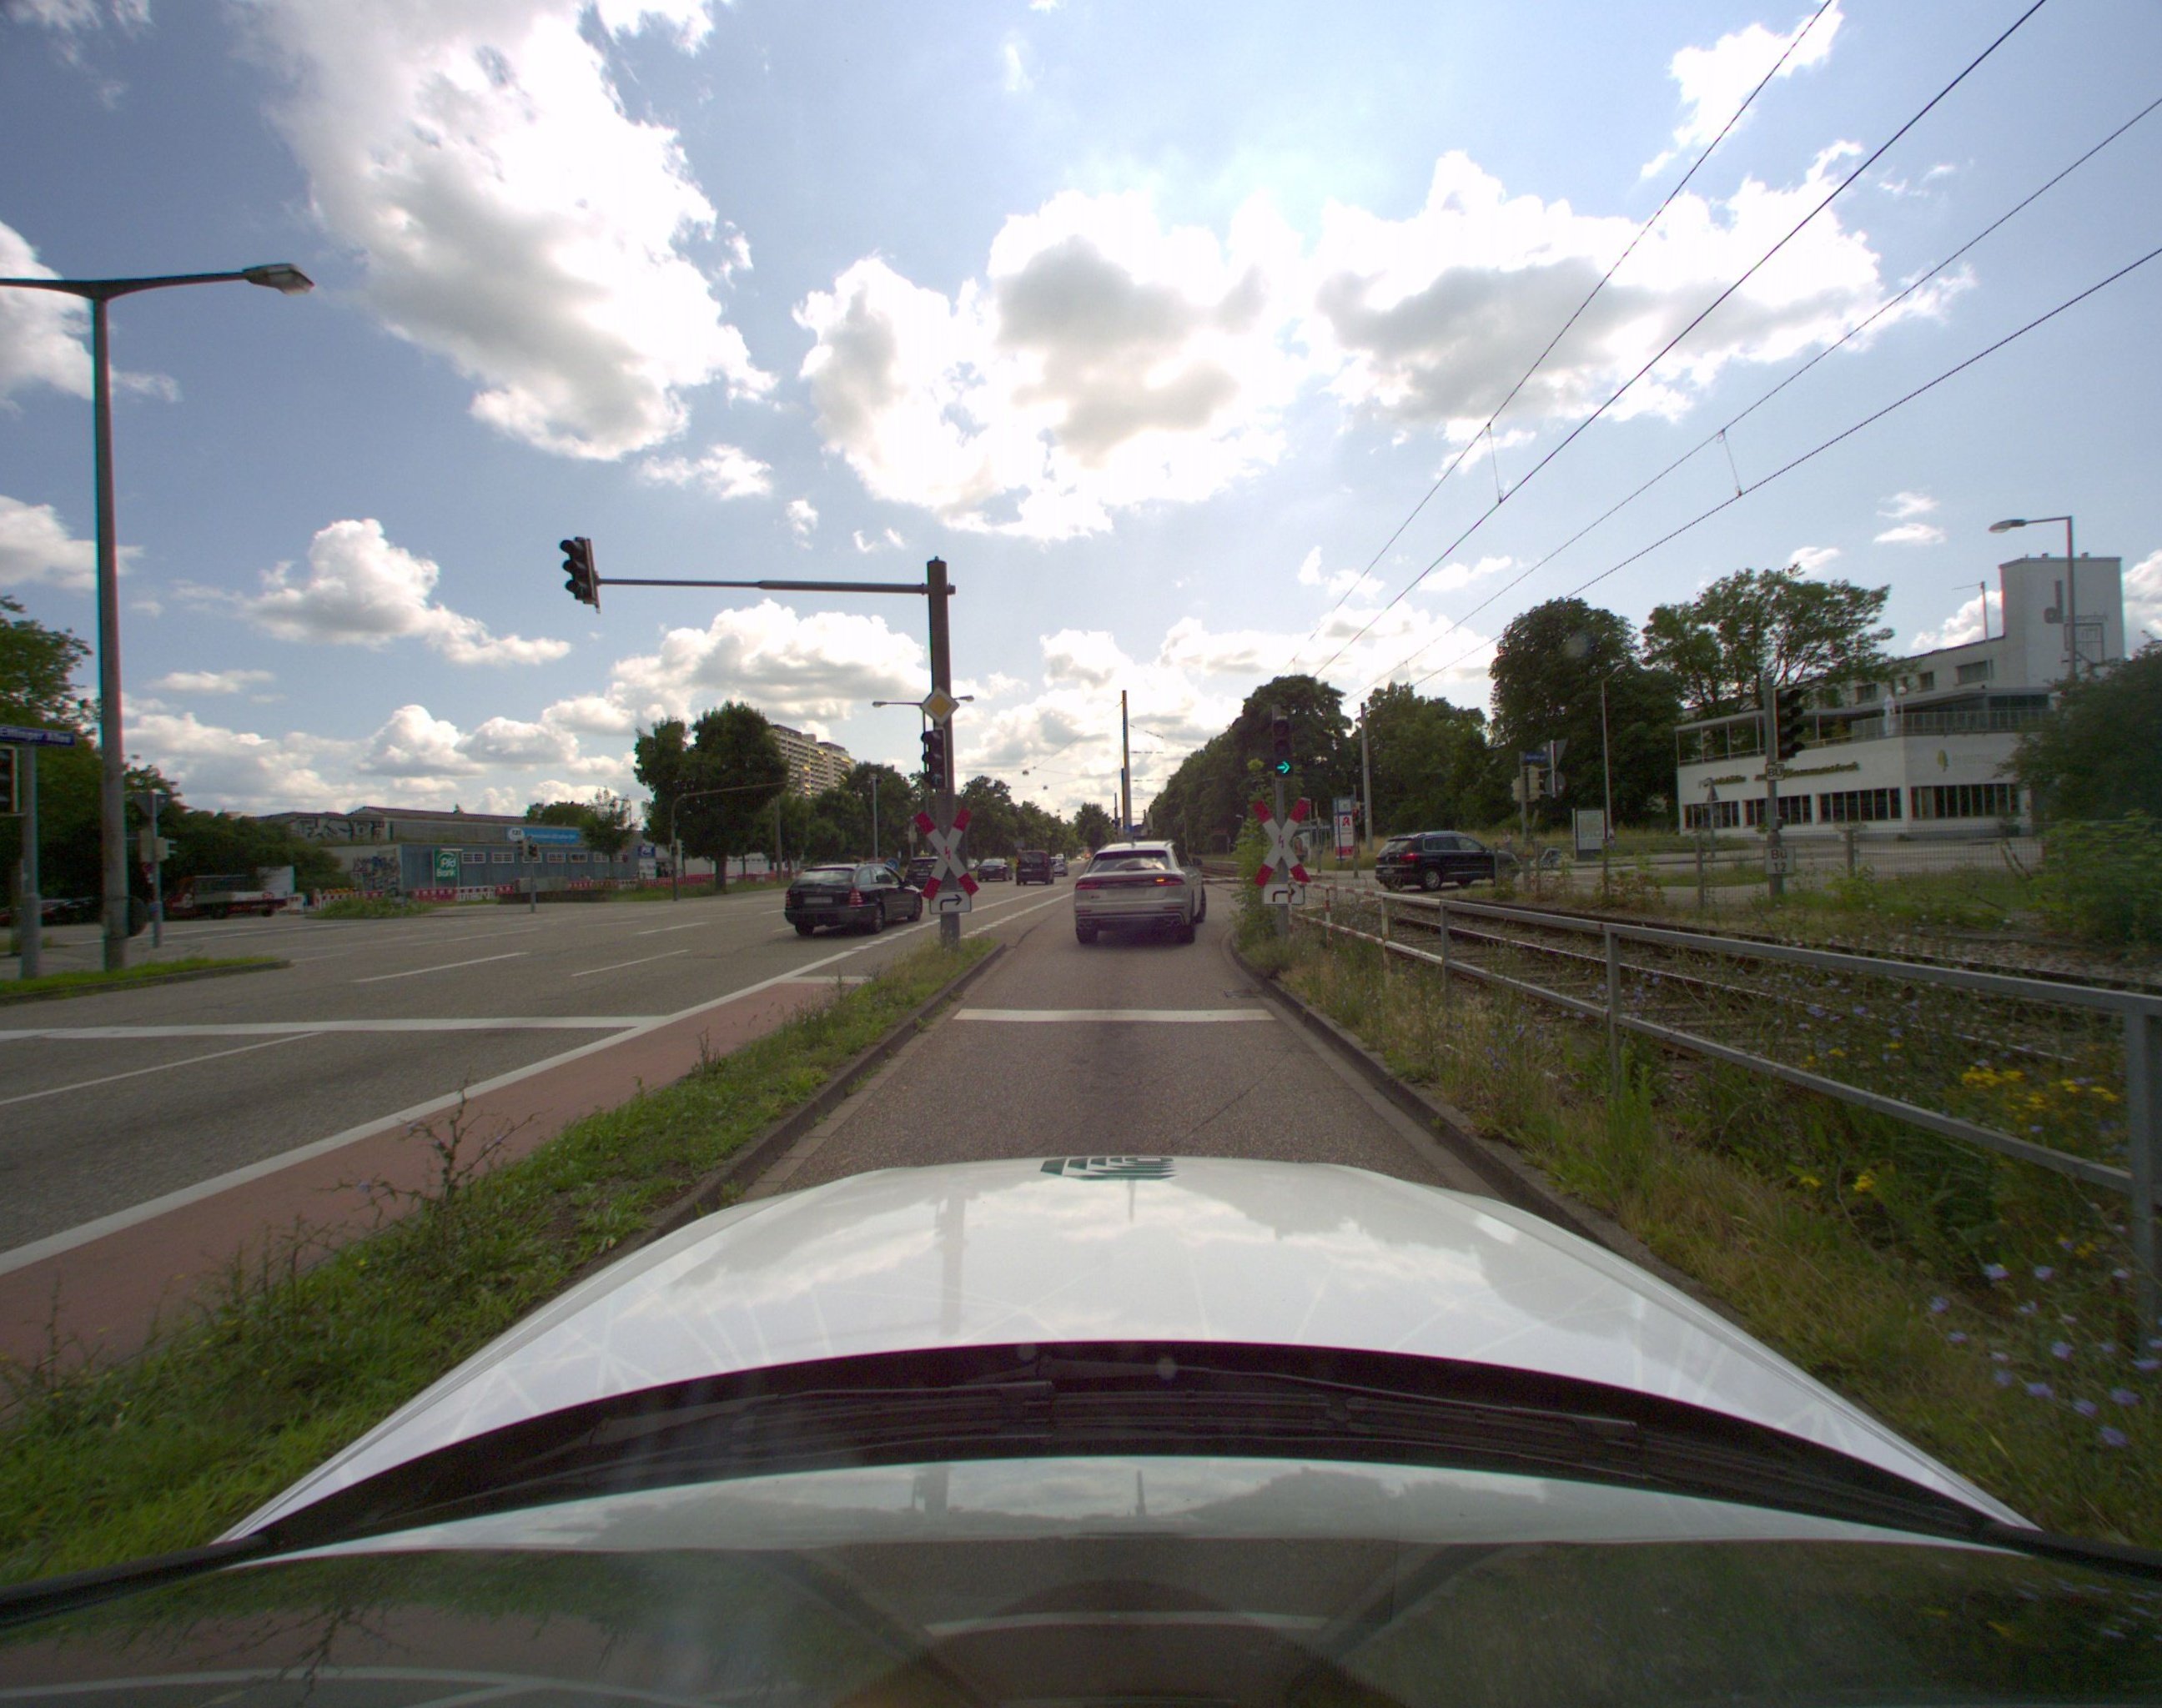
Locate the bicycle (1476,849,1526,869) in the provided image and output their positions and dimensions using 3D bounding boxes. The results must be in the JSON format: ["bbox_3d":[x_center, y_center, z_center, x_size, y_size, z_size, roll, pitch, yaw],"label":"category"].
[{"bbox_3d":[17.040,0.187,33.070,1.714,0.765,0.556,-1,-1,5],"label":"bicycle"}]

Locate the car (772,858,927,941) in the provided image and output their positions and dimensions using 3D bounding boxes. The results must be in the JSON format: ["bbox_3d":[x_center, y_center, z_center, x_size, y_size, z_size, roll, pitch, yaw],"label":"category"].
[{"bbox_3d":[-4.755,0.860,17.482,1.747,1.466,4.438,-2,0,4],"label":"car"}]

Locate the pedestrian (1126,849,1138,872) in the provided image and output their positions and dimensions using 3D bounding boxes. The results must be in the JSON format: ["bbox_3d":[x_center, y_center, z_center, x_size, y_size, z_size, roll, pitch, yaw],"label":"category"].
[{"bbox_3d":[3.355,0.417,53.892,0.653,1.513,0.716,-2,0,-6],"label":"pedestrian"}]

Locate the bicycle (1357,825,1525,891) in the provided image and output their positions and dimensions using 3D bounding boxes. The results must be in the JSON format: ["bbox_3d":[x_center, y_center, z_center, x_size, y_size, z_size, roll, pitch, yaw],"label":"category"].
[{"bbox_3d":[10.457,0.111,23.738,4.206,1.675,1.988,-2,0,-18],"label":"bicycle"}]

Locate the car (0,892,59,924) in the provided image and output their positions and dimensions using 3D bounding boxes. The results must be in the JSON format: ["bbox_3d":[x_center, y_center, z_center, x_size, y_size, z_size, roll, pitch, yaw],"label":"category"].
[{"bbox_3d":[-64.020,3.271,49.038,3.956,1.786,1.719,-2,0,17],"label":"car"}]

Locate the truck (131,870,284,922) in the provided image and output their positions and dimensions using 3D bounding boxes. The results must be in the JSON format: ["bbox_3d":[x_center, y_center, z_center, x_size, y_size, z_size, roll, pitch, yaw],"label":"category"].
[{"bbox_3d":[-46.433,2.238,43.294,6.904,2.439,3.055,-2,0,20],"label":"truck"}]

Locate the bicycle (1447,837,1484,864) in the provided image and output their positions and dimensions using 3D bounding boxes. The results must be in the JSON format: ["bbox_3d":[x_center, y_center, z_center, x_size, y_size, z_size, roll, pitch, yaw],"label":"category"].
[{"bbox_3d":[17.717,-0.160,37.490,1.667,1.132,0.694,-4,1,-32],"label":"bicycle"}]

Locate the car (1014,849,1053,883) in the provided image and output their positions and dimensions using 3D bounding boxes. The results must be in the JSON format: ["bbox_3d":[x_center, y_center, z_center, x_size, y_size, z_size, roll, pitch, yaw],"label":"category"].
[{"bbox_3d":[-2.521,0.635,44.321,1.753,1.777,3.910,-1,0,1],"label":"car"}]

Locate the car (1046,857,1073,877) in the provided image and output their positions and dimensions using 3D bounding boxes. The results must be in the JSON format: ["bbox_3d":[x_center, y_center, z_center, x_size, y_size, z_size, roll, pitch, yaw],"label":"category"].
[{"bbox_3d":[-1.646,0.982,63.040,1.779,1.525,4.303,-1,0,2],"label":"car"}]

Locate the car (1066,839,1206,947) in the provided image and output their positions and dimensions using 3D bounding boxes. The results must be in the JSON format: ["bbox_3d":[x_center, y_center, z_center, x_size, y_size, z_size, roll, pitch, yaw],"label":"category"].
[{"bbox_3d":[1.191,0.622,15.062,1.969,1.684,4.588,-1,0,11],"label":"car"}]

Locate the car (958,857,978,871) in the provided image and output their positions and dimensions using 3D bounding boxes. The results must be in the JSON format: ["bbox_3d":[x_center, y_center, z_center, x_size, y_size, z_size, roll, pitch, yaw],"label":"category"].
[{"bbox_3d":[-13.951,1.226,100.401,1.779,1.593,3.773,-2,0,1],"label":"car"}]

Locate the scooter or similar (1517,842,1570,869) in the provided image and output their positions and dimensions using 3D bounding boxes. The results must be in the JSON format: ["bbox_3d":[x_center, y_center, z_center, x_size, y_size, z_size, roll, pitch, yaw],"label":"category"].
[{"bbox_3d":[18.585,0.051,32.776,1.567,0.979,0.964,-3,-1,5],"label":"scooter or similar"}]

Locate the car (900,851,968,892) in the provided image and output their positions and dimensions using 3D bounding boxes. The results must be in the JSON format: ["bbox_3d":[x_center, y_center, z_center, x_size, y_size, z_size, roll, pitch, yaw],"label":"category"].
[{"bbox_3d":[-6.290,0.722,35.378,1.777,1.668,4.346,-1,0,5],"label":"car"}]

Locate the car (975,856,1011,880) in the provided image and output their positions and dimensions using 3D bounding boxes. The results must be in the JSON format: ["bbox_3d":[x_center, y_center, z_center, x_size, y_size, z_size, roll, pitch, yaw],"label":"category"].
[{"bbox_3d":[-5.639,0.886,52.671,1.858,1.504,4.000,-1,0,0],"label":"car"}]

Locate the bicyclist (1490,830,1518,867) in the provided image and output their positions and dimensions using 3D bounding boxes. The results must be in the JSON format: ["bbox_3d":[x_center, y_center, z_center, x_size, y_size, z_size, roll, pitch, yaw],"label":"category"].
[{"bbox_3d":[17.160,-0.229,33.073,0.835,1.475,0.456,-2,-1,5],"label":"bicyclist"}]
